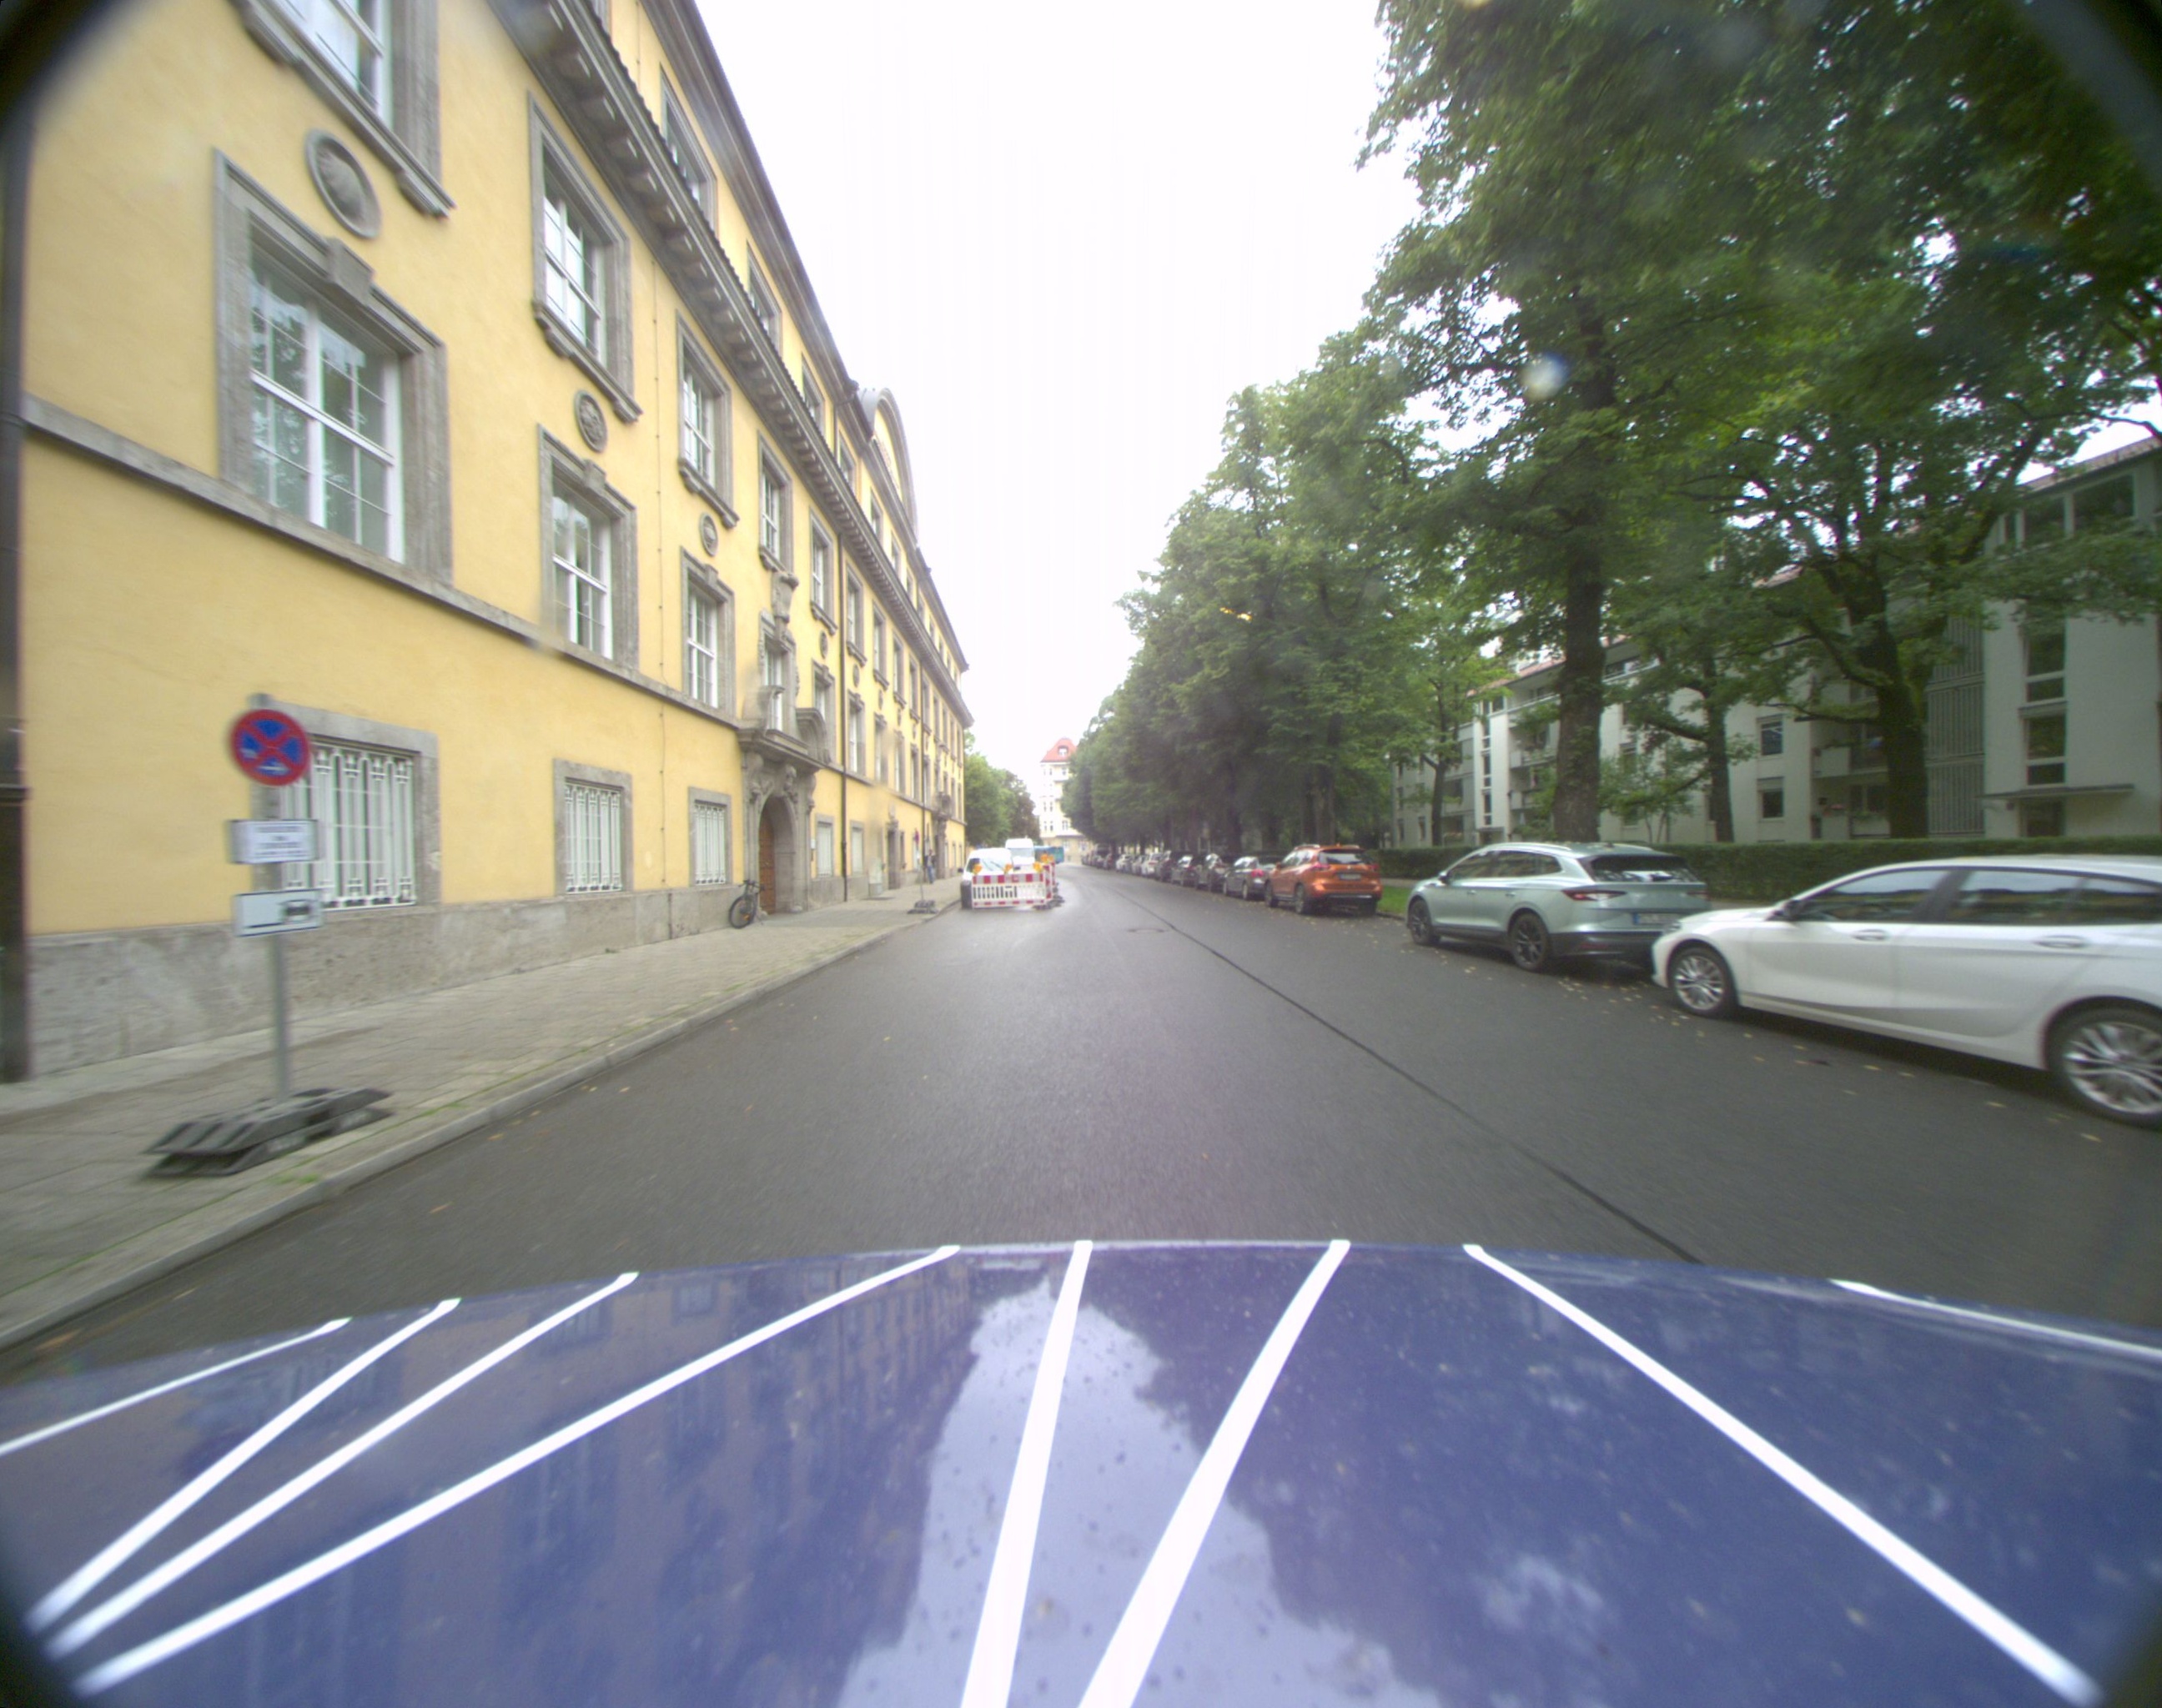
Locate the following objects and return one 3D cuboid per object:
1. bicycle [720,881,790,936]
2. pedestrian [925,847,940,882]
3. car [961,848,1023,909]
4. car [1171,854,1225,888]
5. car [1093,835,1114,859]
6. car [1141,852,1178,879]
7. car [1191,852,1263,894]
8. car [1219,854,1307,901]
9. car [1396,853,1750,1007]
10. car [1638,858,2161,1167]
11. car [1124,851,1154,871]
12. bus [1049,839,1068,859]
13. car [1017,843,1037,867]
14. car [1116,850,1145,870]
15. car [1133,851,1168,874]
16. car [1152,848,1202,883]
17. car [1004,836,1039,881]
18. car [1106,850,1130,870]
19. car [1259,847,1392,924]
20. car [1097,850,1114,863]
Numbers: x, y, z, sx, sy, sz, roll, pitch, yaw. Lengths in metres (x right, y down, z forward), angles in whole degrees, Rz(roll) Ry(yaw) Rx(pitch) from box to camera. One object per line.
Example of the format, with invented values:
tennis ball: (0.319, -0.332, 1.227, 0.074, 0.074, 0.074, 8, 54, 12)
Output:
bicycle: (-6.989, 1.148, 16.417, 0.682, 1.000, 2.056, -1, 1, -2)
pedestrian: (-7.690, 0.544, 39.321, 0.702, 1.794, 0.582, 1, 2, -3)
car: (-2.856, 0.729, 25.103, 1.744, 1.740, 4.353, -1, 1, -3)
car: (5.515, 0.742, 36.410, 1.723, 1.442, 4.694, -1, 1, -1)
car: (2.749, -0.915, 95.932, 1.951, 2.838, 6.232, -1, 1, -4)
car: (4.987, 0.696, 48.719, 1.770, 1.612, 4.521, 2, 1, -1)
car: (5.797, 0.708, 30.721, 1.791, 1.565, 4.484, 0, 0, -3)
car: (6.014, 0.738, 25.645, 1.732, 1.414, 4.250, -1, 0, -3)
car: (6.254, 0.815, 10.449, 1.820, 1.592, 4.512, -1, 1, -2)
car: (6.219, 0.820, 5.224, 1.582, 1.488, 4.197, -1, 1, -2)
car: (4.536, 0.552, 59.869, 1.677, 1.461, 4.102, -1, 1, -4)
bus: (-4.164, -1.007, 138.654, 2.867, 3.221, 18.415, -1, 1, -3)
car: (-5.856, 0.093, 82.579, 2.101, 2.473, 5.736, -1, 1, -4)
car: (4.152, 0.439, 64.660, 1.789, 1.588, 4.582, -1, 1, -4)
car: (4.899, 0.571, 54.229, 1.814, 1.461, 4.995, -1, 1, -3)
car: (5.205, 0.566, 41.845, 1.999, 1.786, 4.919, 0, 1, -1)
car: (-3.846, 0.233, 49.538, 2.060, 2.657, 7.610, -1, 1, -4)
car: (3.614, 0.514, 74.239, 1.789, 1.866, 4.546, 1, 0, -4)
car: (6.145, 0.698, 19.712, 1.877, 1.718, 4.640, -1, 1, -1)
car: (2.680, 0.302, 84.474, 1.794, 1.429, 4.551, -1, 0, 0)
